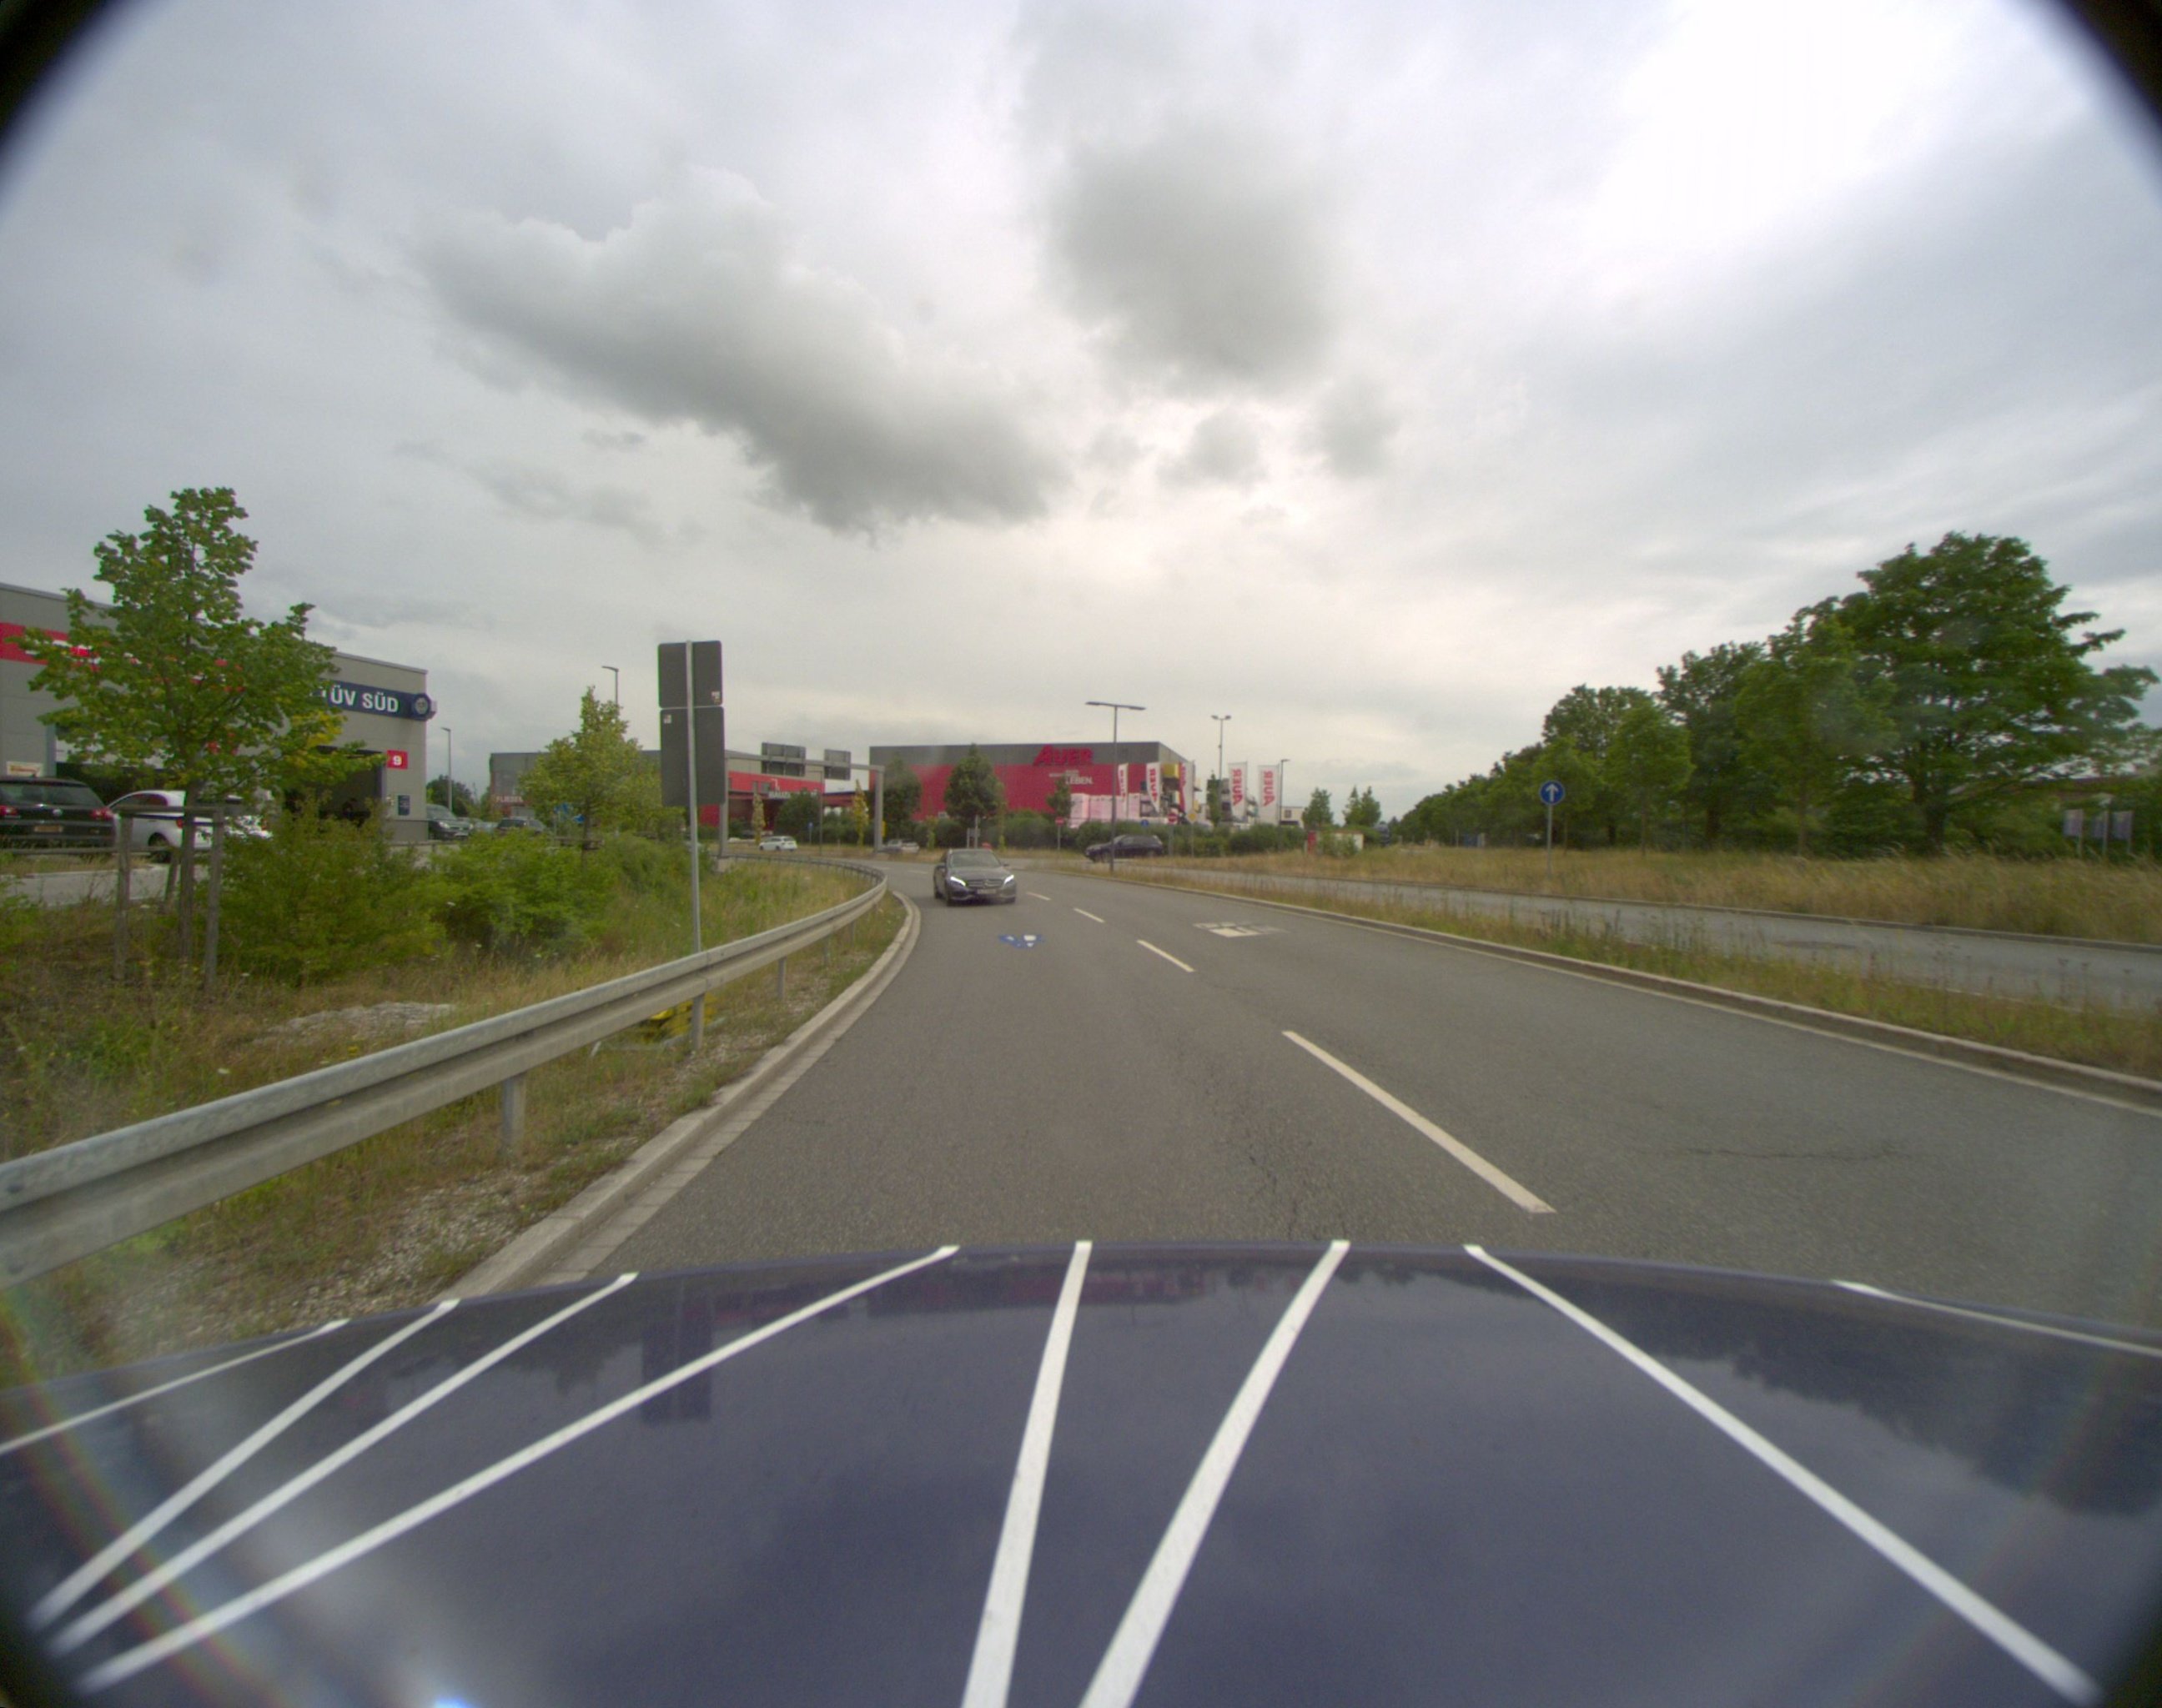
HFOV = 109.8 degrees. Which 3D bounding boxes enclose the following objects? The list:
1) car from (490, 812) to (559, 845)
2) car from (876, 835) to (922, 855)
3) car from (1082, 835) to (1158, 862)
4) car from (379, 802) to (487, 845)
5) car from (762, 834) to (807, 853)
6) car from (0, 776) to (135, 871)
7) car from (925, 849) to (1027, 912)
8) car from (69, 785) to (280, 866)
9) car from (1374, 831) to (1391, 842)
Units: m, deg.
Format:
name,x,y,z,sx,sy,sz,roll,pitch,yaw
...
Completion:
name,x,y,z,sx,sy,sz,roll,pitch,yaw
car,-33.166,-1.558,45.428,1.805,1.773,4.161,-2,4,-14
car,-14.451,-0.714,60.368,4.083,1.478,1.466,0,5,43
car,2.343,-0.374,45.878,4.257,1.541,1.870,-1,3,-15
car,-29.118,-1.359,34.172,3.962,1.800,1.707,2,-1,15
car,-27.664,-0.980,70.933,4.255,1.625,1.723,0,3,34
car,-20.056,-0.558,14.233,3.438,1.626,1.734,1,1,17
car,-3.055,0.648,21.239,1.909,1.489,4.331,-2,2,-20
car,-19.922,-0.635,16.728,3.620,1.530,1.646,3,2,16
car,48.644,-2.817,122.697,1.996,1.739,4.005,2,0,15
